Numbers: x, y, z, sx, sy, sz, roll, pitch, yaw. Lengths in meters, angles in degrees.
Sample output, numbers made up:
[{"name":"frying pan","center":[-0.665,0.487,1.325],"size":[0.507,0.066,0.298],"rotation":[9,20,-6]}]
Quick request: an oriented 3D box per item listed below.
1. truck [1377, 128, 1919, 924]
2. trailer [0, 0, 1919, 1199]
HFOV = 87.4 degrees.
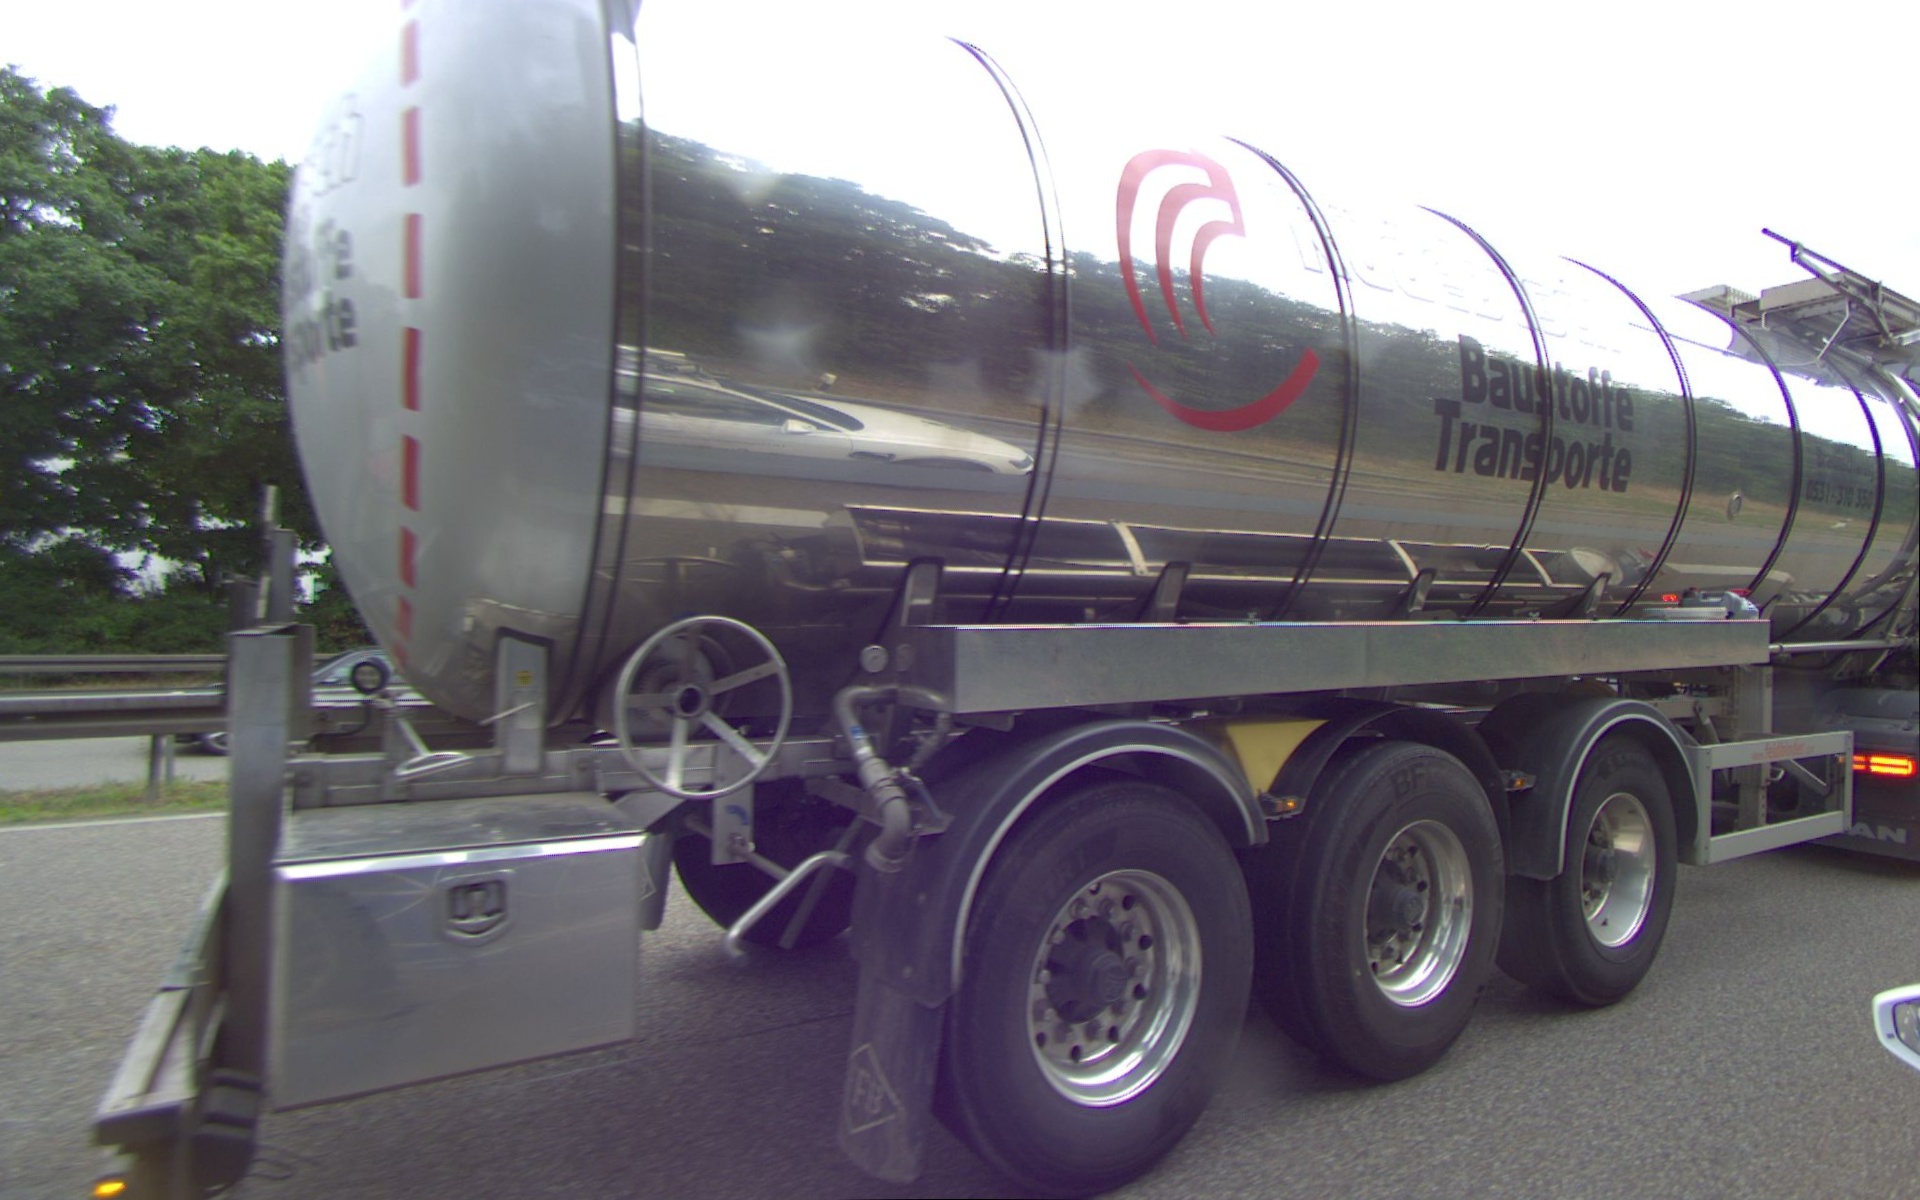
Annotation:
[{"name":"truck","center":[6.603,-0.276,7.975],"size":[6.860,3.959,2.668],"rotation":[2,-2,-32]},{"name":"trailer","center":[2.552,-0.403,5.422],"size":[10.866,3.959,2.668],"rotation":[2,-2,-33]}]
